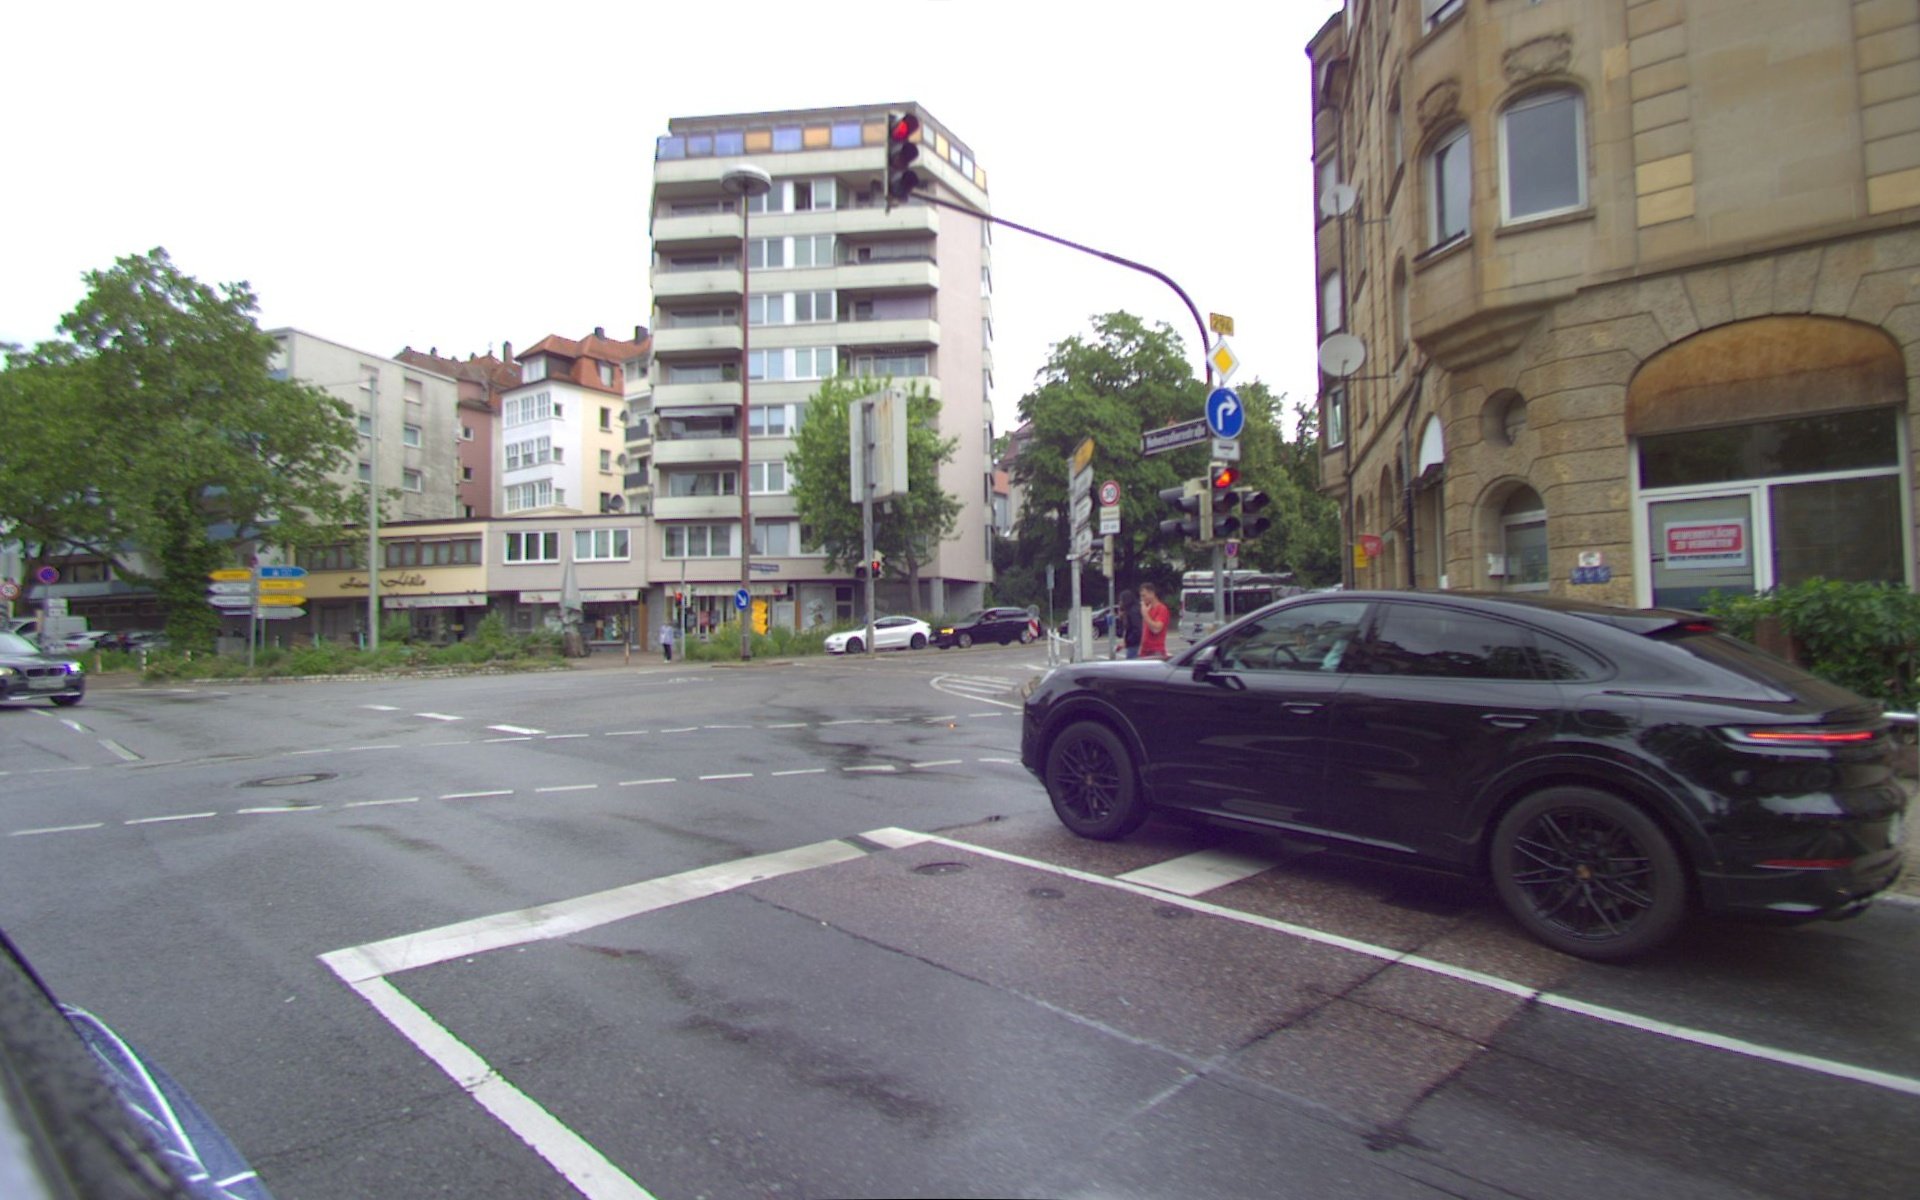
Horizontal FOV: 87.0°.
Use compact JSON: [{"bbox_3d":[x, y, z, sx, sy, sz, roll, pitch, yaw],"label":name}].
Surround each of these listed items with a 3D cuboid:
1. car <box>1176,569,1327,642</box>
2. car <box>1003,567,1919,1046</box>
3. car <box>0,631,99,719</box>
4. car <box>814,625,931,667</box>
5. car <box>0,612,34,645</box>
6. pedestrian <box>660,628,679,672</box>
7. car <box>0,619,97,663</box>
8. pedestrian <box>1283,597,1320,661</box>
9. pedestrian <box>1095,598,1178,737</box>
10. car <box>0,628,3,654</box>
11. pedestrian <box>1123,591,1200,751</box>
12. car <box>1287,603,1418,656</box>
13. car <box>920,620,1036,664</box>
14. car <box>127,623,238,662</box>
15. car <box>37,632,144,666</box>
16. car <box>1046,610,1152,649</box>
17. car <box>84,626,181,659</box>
[{"bbox_3d":[9.378,0.165,32.463,4.722,2.185,2.006,0,-1,-31],"label":"car"},{"bbox_3d":[2.637,0.733,5.953,1.941,1.706,4.814,2,-1,-42],"label":"car"},{"bbox_3d":[-19.067,1.406,19.671,4.183,1.546,1.746,-1,-1,20],"label":"car"},{"bbox_3d":[-3.529,1.835,41.128,4.317,1.503,1.920,0,-1,-29],"label":"car"},{"bbox_3d":[-51.036,1.462,52.675,1.788,1.702,3.821,1,-1,12],"label":"car"},{"bbox_3d":[-11.395,1.953,39.705,0.610,1.706,0.625,0,-1,-5],"label":"pedestrian"},{"bbox_3d":[-46.414,1.996,50.565,1.860,1.992,4.959,0,0,11],"label":"car"},{"bbox_3d":[9.199,0.770,27.268,0.781,1.674,0.663,-1,-1,34],"label":"pedestrian"},{"bbox_3d":[2.261,0.840,12.986,0.829,1.715,0.630,-1,-1,42],"label":"pedestrian"},{"bbox_3d":[-53.621,2.218,53.718,1.673,1.416,3.824,1,-1,10],"label":"car"},{"bbox_3d":[2.332,0.794,11.727,0.516,1.787,0.694,0,-1,-44],"label":"pedestrian"},{"bbox_3d":[13.572,0.963,34.921,4.307,1.717,2.006,0,0,-31],"label":"car"},{"bbox_3d":[0.697,1.555,37.995,3.954,1.503,1.772,0,-2,-29],"label":"car"},{"bbox_3d":[-36.332,1.962,47.422,1.915,1.655,4.214,1,0,1],"label":"car"},{"bbox_3d":[-41.677,2.333,48.631,1.790,1.426,3.699,1,0,5],"label":"car"},{"bbox_3d":[5.653,1.192,41.094,3.954,1.503,1.772,0,-2,-29],"label":"car"},{"bbox_3d":[-39.349,2.003,48.206,1.609,1.426,3.620,1,0,1],"label":"car"}]
